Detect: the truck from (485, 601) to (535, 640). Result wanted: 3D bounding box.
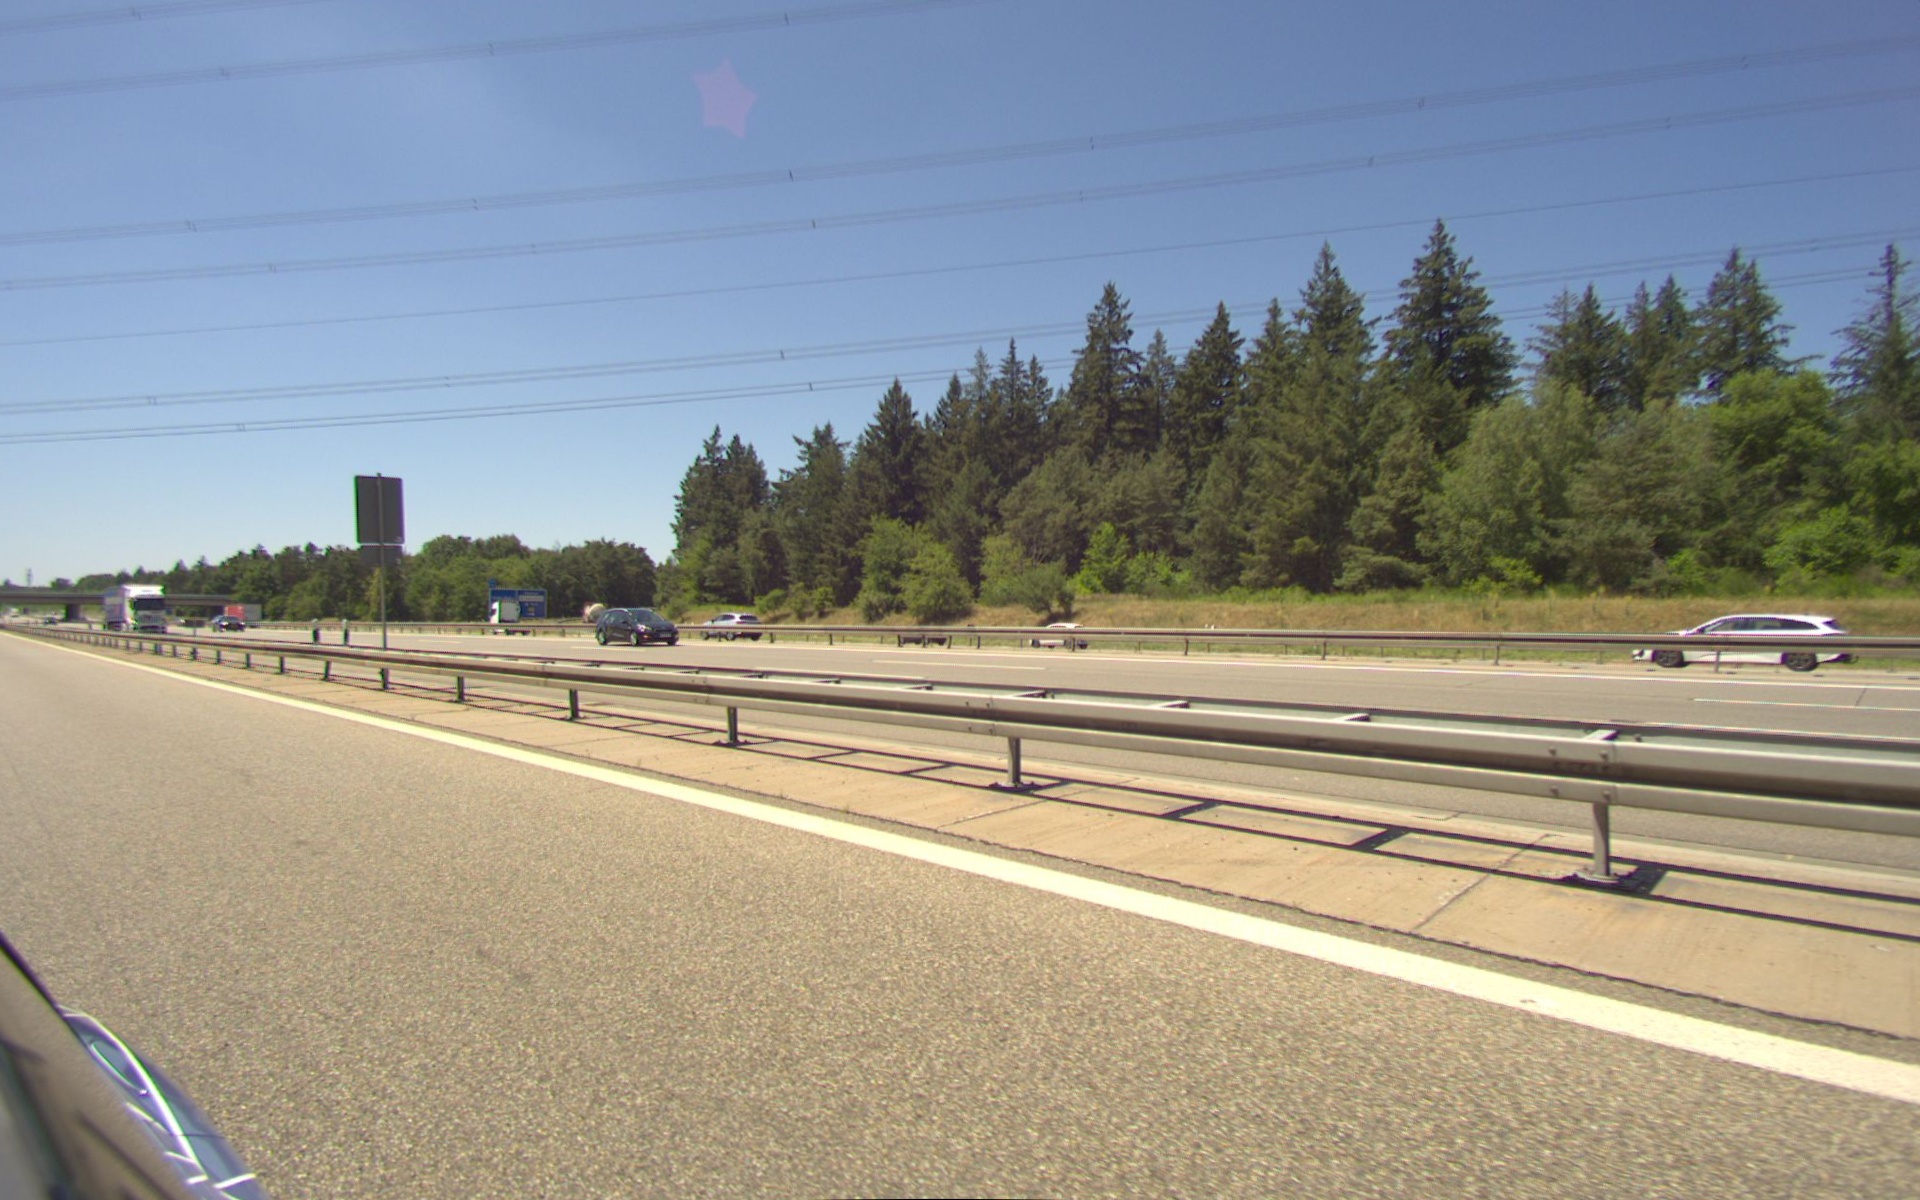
[{"bbox_3d":[-52.702,2.333,118.407,2.826,4.378,7.536,1,0,-44],"label":"truck"}]

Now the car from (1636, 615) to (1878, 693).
[{"bbox_3d":[20.563,1.302,26.259,4.812,1.796,1.972,0,-1,43],"label":"car"}]

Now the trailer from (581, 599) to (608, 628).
[{"bbox_3d":[-51.310,1.964,141.962,2.733,3.827,8.965,0,-2,-25],"label":"trailer"}]

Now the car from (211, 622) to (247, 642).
[{"bbox_3d":[-64.868,2.818,89.746,1.971,1.730,4.002,0,-1,-45],"label":"car"}]

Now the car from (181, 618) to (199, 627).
[{"bbox_3d":[-146.106,4.275,192.038,4.827,1.696,1.894,1,0,44],"label":"car"}]

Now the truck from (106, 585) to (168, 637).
[{"bbox_3d":[-69.249,0.972,85.022,11.050,4.089,2.673,-2,-1,44],"label":"truck"}]

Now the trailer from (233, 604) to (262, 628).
[{"bbox_3d":[-123.516,2.859,175.327,2.511,3.826,13.756,1,-2,-42],"label":"trailer"}]

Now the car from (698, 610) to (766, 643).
[{"bbox_3d":[-13.315,1.517,59.088,4.000,1.796,1.972,0,-1,43],"label":"car"}]

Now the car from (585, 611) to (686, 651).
[{"bbox_3d":[-12.886,1.207,40.083,4.241,1.487,1.972,-1,-1,42],"label":"car"}]

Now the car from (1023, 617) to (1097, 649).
[{"bbox_3d":[5.896,1.911,59.914,4.000,1.796,1.972,0,-1,43],"label":"car"}]
